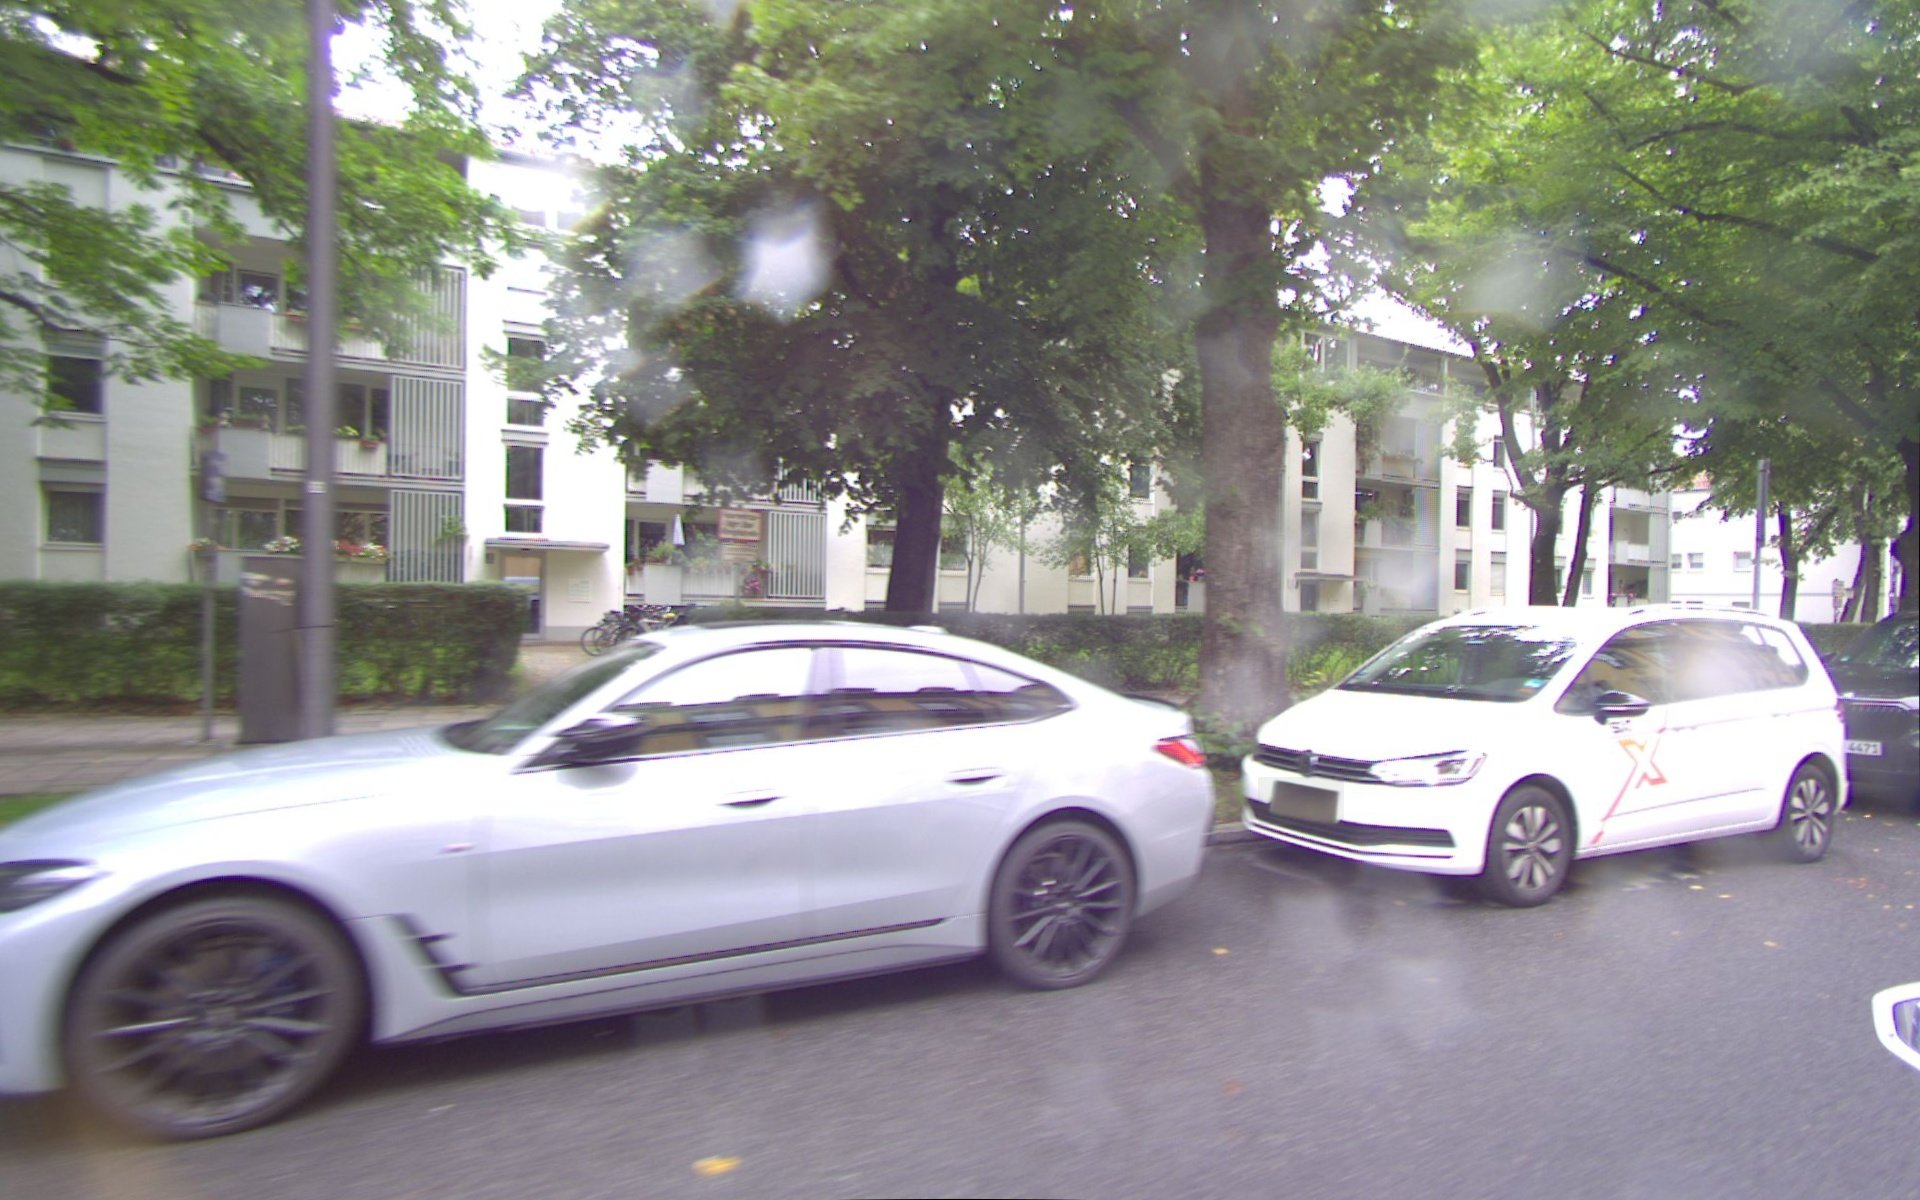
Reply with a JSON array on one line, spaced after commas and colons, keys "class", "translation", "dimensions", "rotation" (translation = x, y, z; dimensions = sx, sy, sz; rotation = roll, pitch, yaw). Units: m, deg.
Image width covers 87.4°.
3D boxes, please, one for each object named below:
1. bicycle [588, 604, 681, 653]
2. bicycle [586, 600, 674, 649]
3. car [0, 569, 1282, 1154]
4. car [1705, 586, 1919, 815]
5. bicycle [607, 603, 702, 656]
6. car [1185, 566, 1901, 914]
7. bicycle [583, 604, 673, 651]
[{"class": "bicycle", "translation": [-7.307, 0.644, 22.581], "dimensions": [1.881, 1.051, 0.637], "rotation": [1, 1, -30]}, {"class": "bicycle", "translation": [-7.859, 0.587, 23.940], "dimensions": [1.881, 1.122, 0.637], "rotation": [1, 1, -30]}, {"class": "car", "translation": [-1.177, 0.720, 4.192], "dimensions": [4.932, 1.489, 1.803], "rotation": [2, 0, -26]}, {"class": "car", "translation": [9.607, 0.879, 9.574], "dimensions": [4.853, 1.820, 1.988], "rotation": [2, -2, -25]}, {"class": "bicycle", "translation": [-6.654, 0.635, 21.911], "dimensions": [1.881, 1.096, 0.637], "rotation": [1, 1, -30]}, {"class": "car", "translation": [3.809, 0.762, 6.498], "dimensions": [4.460, 1.643, 1.761], "rotation": [2, -3, -25]}, {"class": "bicycle", "translation": [-7.689, 0.636, 23.264], "dimensions": [1.881, 1.051, 0.637], "rotation": [1, 1, -30]}]
